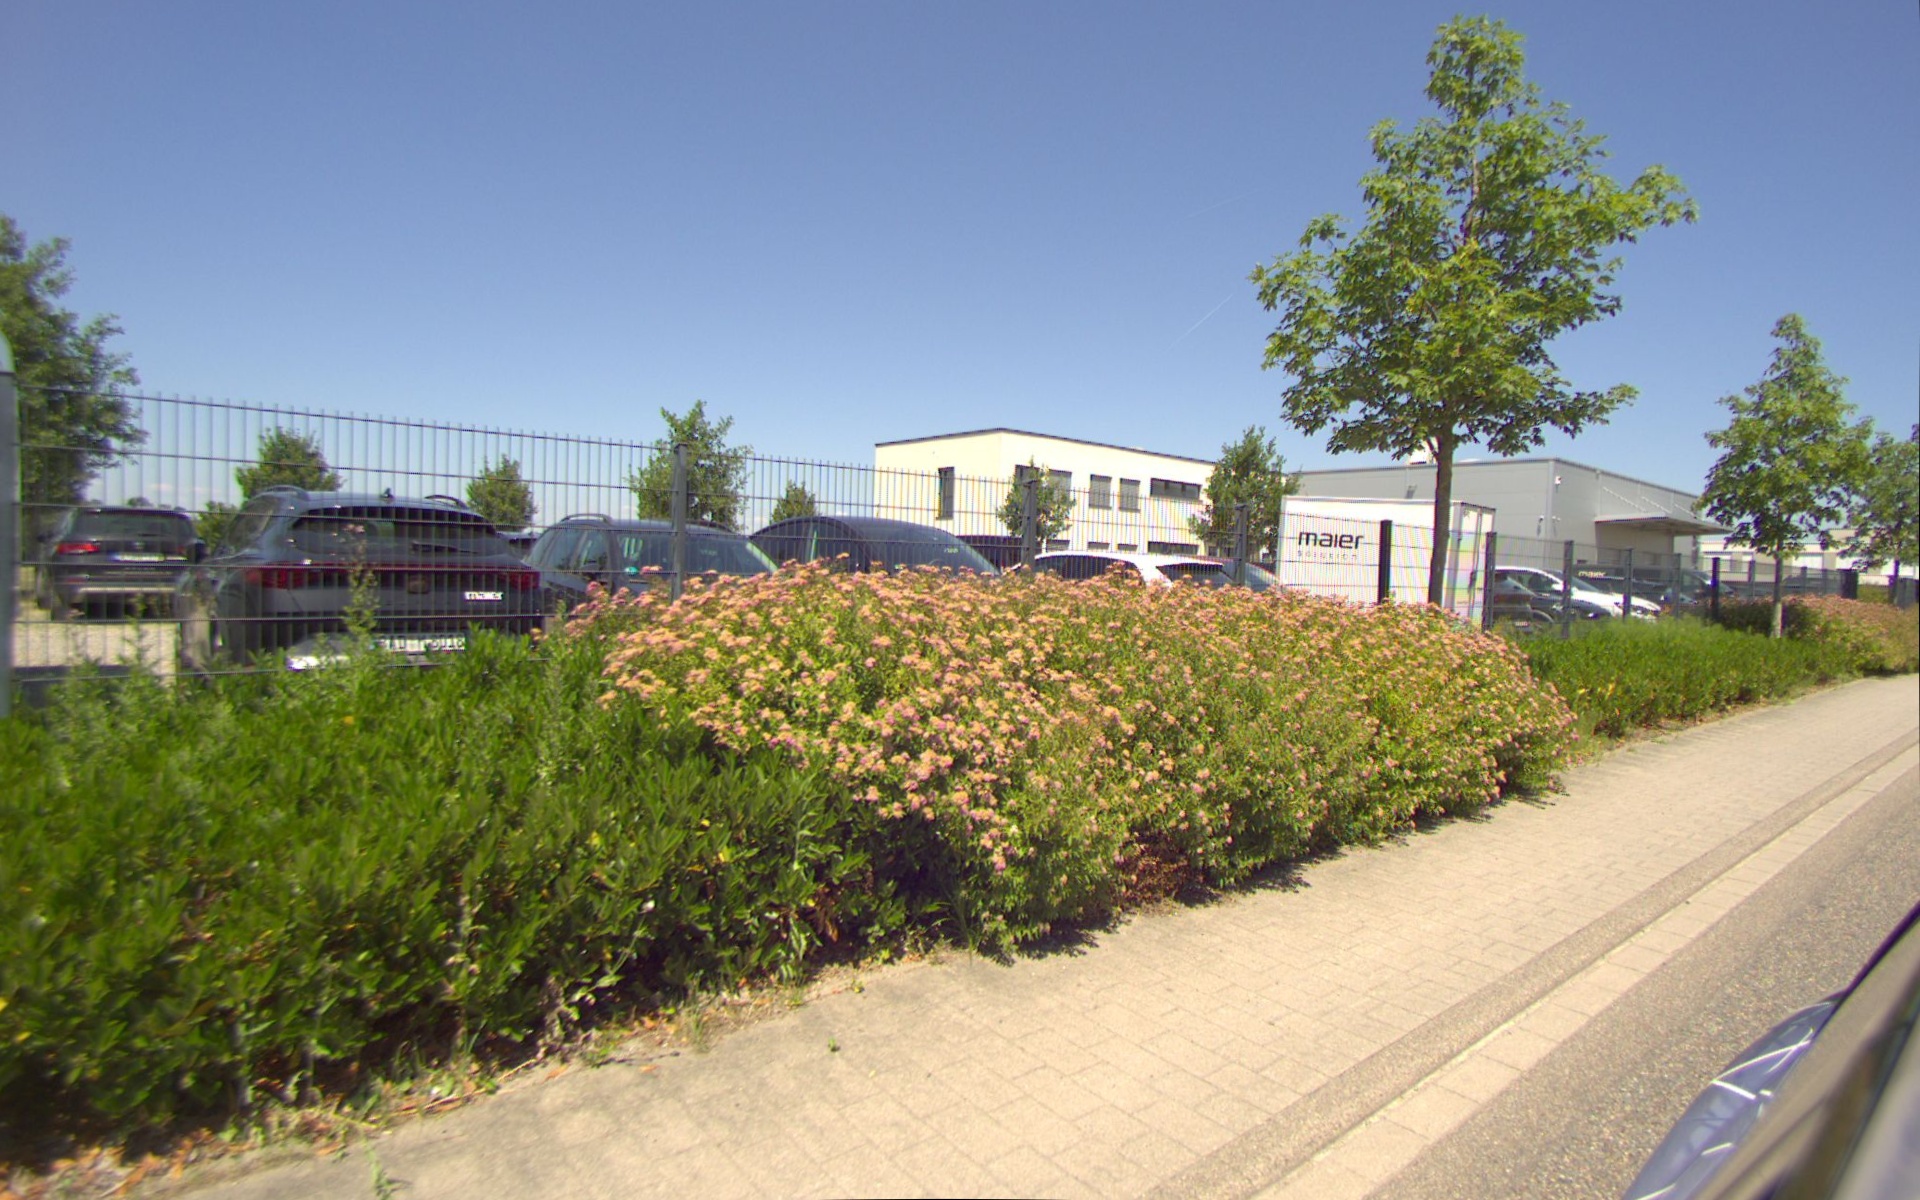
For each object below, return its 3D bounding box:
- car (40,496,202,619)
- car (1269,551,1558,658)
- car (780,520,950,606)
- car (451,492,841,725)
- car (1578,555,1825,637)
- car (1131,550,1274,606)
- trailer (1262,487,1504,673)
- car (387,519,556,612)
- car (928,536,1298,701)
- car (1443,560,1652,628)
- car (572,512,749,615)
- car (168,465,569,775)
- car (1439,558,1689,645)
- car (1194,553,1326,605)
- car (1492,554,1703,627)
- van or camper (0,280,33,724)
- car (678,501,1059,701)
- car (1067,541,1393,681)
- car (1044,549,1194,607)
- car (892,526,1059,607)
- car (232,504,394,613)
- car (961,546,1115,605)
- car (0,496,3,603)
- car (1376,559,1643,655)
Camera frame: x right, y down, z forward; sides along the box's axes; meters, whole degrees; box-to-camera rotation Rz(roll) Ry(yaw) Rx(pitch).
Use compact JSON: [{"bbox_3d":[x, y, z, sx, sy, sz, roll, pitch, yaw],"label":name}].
[{"bbox_3d":[-12.317,-0.652,14.882,1.649,1.561,3.830,0,3,-40],"label":"car"},{"bbox_3d":[7.572,-0.015,17.199,1.885,1.522,4.050,0,3,-40],"label":"car"},{"bbox_3d":[-2.255,-0.890,23.164,1.885,1.785,4.050,0,3,-40],"label":"car"},{"bbox_3d":[-2.965,-0.084,8.919,1.776,1.555,4.147,0,4,-40],"label":"car"},{"bbox_3d":[20.276,-0.196,27.900,1.869,1.896,5.126,0,4,-40],"label":"car"},{"bbox_3d":[7.586,-0.724,31.969,1.885,1.571,4.050,0,3,-40],"label":"car"},{"bbox_3d":[6.093,-0.350,14.743,1.396,2.432,2.826,0,3,-44],"label":"trailer"},{"bbox_3d":[-8.666,-0.650,17.768,1.717,1.449,4.050,0,3,-40],"label":"car"},{"bbox_3d":[1.590,0.075,11.491,1.776,1.457,3.846,0,4,-43],"label":"car"},{"bbox_3d":[15.039,-0.208,26.101,1.724,1.462,4.289,0,3,-40],"label":"car"},{"bbox_3d":[-6.028,-0.758,20.080,1.885,1.828,4.050,0,3,-40],"label":"car"},{"bbox_3d":[-4.431,-0.041,7.238,1.776,1.555,4.147,0,4,-40],"label":"car"},{"bbox_3d":[12.253,-0.041,20.725,1.790,1.540,3.996,0,3,-40],"label":"car"},{"bbox_3d":[9.876,-0.722,33.499,1.734,1.521,3.885,0,3,-37],"label":"car"},{"bbox_3d":[14.208,-0.266,22.696,1.615,1.439,3.673,0,3,-40],"label":"car"},{"bbox_3d":[-6.649,-0.563,5.128,2.589,2.616,6.772,0,3,-40],"label":"van or camper"},{"bbox_3d":[-1.152,-0.139,10.506,1.776,1.639,4.263,0,4,-40],"label":"car"},{"bbox_3d":[3.491,0.037,13.645,1.774,1.493,3.901,0,4,-40],"label":"car"},{"bbox_3d":[4.334,-0.645,27.995,1.693,1.405,3.915,0,3,-40],"label":"car"},{"bbox_3d":[0.296,-0.878,24.931,1.885,1.822,4.050,0,3,-40],"label":"car"},{"bbox_3d":[-10.702,-0.713,16.623,1.717,1.567,4.050,0,3,-40],"label":"car"},{"bbox_3d":[1.992,-0.685,26.825,1.693,1.405,4.050,0,3,-40],"label":"car"},{"bbox_3d":[-14.035,-0.671,13.427,1.719,1.595,3.830,0,3,-40],"label":"car"},{"bbox_3d":[10.230,0.046,19.079,1.713,1.509,4.050,0,3,-40],"label":"car"}]
